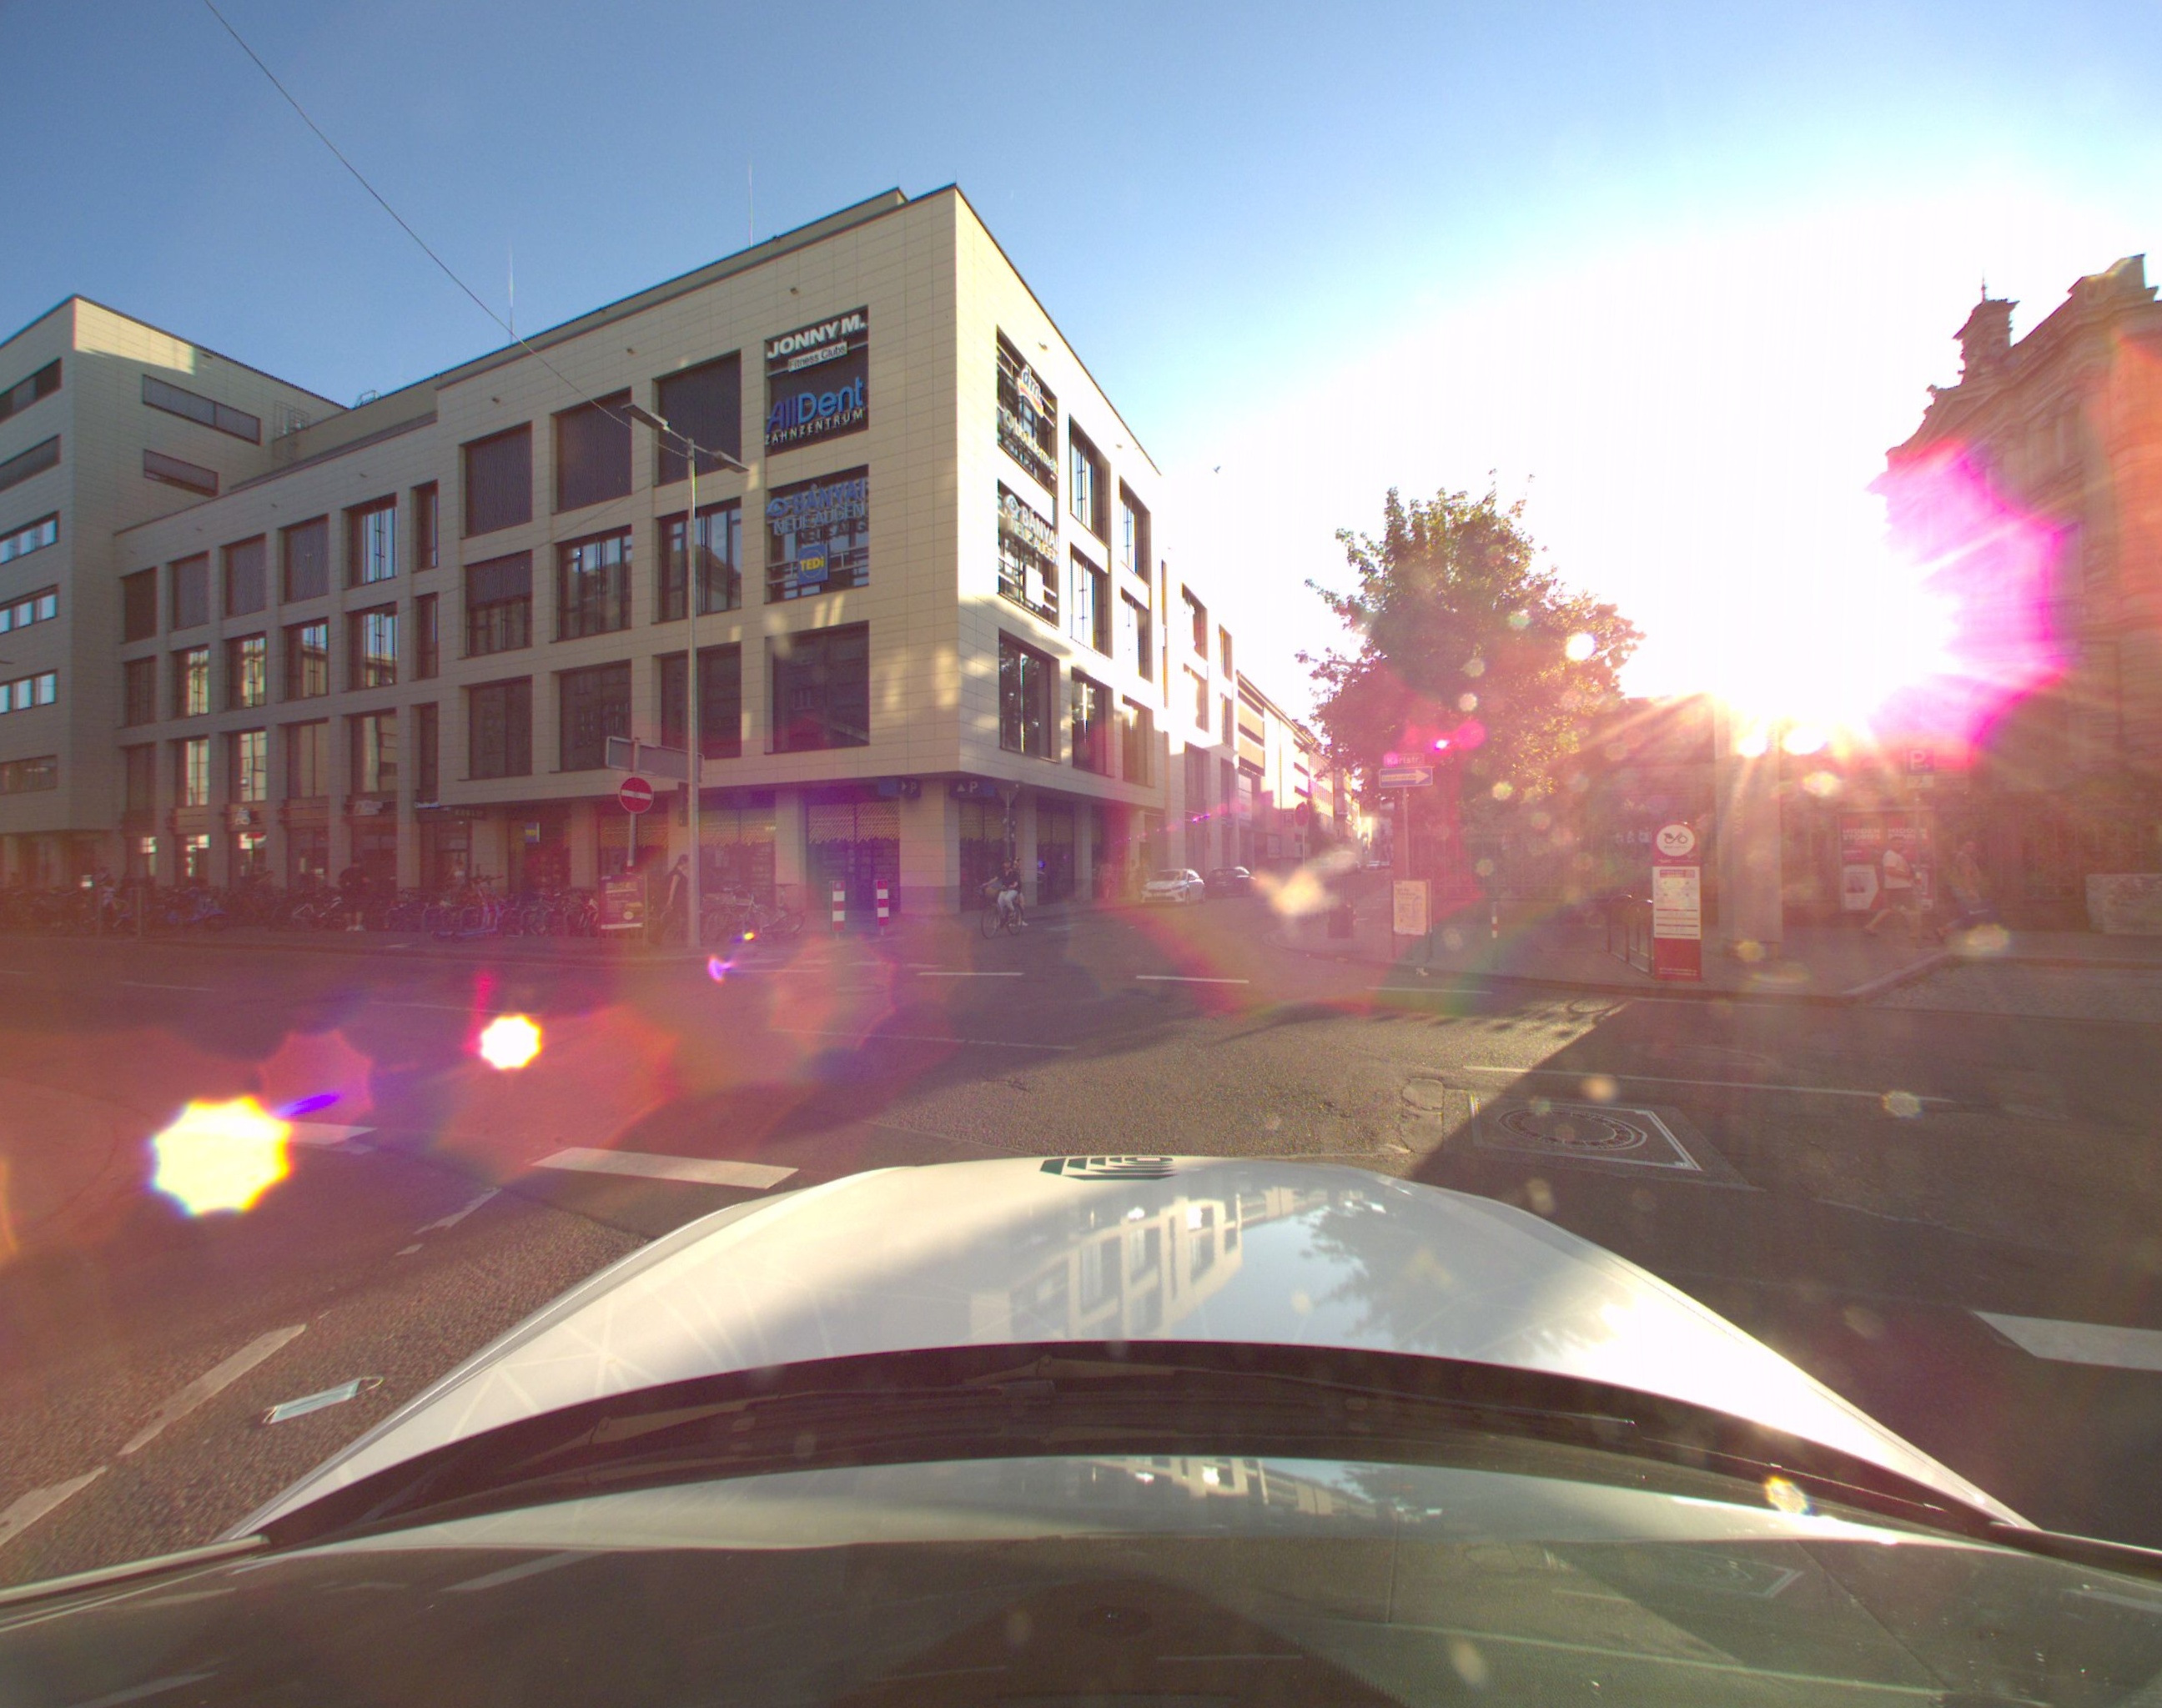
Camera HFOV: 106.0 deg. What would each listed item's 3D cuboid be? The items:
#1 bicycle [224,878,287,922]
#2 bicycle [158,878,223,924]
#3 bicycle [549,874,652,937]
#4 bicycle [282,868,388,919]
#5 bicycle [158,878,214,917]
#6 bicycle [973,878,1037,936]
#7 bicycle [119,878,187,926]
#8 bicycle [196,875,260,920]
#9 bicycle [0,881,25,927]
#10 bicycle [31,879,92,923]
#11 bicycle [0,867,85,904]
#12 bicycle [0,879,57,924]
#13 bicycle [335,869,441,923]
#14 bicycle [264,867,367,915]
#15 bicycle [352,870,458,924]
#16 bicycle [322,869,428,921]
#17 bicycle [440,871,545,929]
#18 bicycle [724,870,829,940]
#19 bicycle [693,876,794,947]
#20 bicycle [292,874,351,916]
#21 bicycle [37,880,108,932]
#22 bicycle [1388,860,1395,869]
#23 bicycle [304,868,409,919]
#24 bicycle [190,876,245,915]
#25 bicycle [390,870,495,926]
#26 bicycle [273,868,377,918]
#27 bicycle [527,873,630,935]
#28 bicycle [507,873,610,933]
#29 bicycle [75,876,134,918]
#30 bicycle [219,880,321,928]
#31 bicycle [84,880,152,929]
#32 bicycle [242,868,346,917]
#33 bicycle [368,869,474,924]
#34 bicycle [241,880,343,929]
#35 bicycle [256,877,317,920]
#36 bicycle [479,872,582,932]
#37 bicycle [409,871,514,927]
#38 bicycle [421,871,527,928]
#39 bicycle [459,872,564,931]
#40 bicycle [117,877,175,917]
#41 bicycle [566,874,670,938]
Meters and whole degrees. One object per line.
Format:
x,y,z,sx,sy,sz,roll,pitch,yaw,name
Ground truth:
-24.566,1.351,24.235,1.956,1.255,0.516,0,-1,20,bicycle
-25.057,1.302,22.918,1.956,1.255,0.516,0,-1,20,bicycle
-10.232,1.064,17.430,0.507,1.255,1.989,0,-1,22,bicycle
-19.403,0.992,21.239,0.507,1.255,1.989,0,-1,22,bicycle
-29.457,1.413,26.791,1.956,1.255,0.516,0,-1,20,bicycle
-1.611,1.112,17.637,0.658,1.138,1.831,0,-1,20,bicycle
-25.360,1.283,22.251,1.956,1.255,0.516,0,-1,20,bicycle
-24.763,1.255,23.629,1.956,1.255,0.516,0,-1,20,bicycle
-30.820,1.395,23.064,1.956,1.255,0.516,0,-1,20,bicycle
-30.485,1.399,24.345,1.956,1.255,0.516,0,-1,20,bicycle
-36.151,1.078,28.230,0.507,1.255,1.989,0,-1,22,bicycle
-30.765,1.358,23.745,1.956,1.255,0.516,0,-1,20,bicycle
-17.239,1.019,20.313,0.507,1.255,1.989,0,-1,22,bicycle
-20.724,0.971,22.108,0.507,1.255,1.989,0,-1,22,bicycle
-16.644,1.035,20.119,0.507,1.255,1.989,0,-1,22,bicycle
-17.925,1.014,20.736,0.507,1.255,1.989,0,-1,22,bicycle
-13.612,1.041,18.914,0.507,1.255,1.989,0,-1,22,bicycle
-5.817,0.933,15.708,0.658,1.255,2.151,0,-1,20,bicycle
-6.548,1.078,15.925,0.576,1.255,2.054,0,-1,20,bicycle
-23.793,1.277,25.514,1.956,1.255,0.516,0,-1,20,bicycle
-25.890,1.314,20.896,1.956,1.255,0.516,0,-1,20,bicycle
47.935,1.614,125.691,0.966,1.280,2.769,0,-1,24,bicycle
-18.682,0.984,21.049,0.507,1.255,1.989,0,-1,22,bicycle
-29.203,1.383,27.543,1.956,1.255,0.516,0,-1,20,bicycle
-15.381,1.031,19.695,0.507,1.255,1.989,0,-1,22,bicycle
-20.057,1.010,21.668,0.507,1.255,1.989,0,-1,22,bicycle
-10.879,1.055,17.722,0.507,1.255,1.989,0,-1,22,bicycle
-11.548,1.047,18.081,0.507,1.255,1.989,0,-1,22,bicycle
-30.331,1.320,25.293,1.956,1.255,0.516,0,-1,20,bicycle
-22.870,1.376,23.024,0.507,1.255,1.989,0,-1,22,bicycle
-25.570,1.324,21.621,1.956,1.255,0.516,0,-1,20,bicycle
-21.441,1.020,22.235,0.507,1.255,1.989,0,-1,22,bicycle
-16.085,1.007,19.917,0.507,1.255,1.989,0,-1,22,bicycle
-21.994,1.381,22.761,0.507,1.255,1.989,0,-1,22,bicycle
-24.270,1.353,24.882,1.956,1.255,0.516,0,-1,20,bicycle
-12.339,1.048,18.331,0.507,1.255,1.989,0,-1,20,bicycle
-14.747,1.030,19.463,0.507,1.255,1.989,0,-1,22,bicycle
-14.185,1.027,19.098,0.507,1.255,1.989,0,-1,22,bicycle
-12.923,1.039,18.554,0.507,1.255,1.989,0,-1,22,bicycle
-29.891,1.359,26.033,1.956,1.255,0.516,0,-1,20,bicycle
-9.720,1.062,17.190,0.507,1.255,1.989,0,-1,22,bicycle
